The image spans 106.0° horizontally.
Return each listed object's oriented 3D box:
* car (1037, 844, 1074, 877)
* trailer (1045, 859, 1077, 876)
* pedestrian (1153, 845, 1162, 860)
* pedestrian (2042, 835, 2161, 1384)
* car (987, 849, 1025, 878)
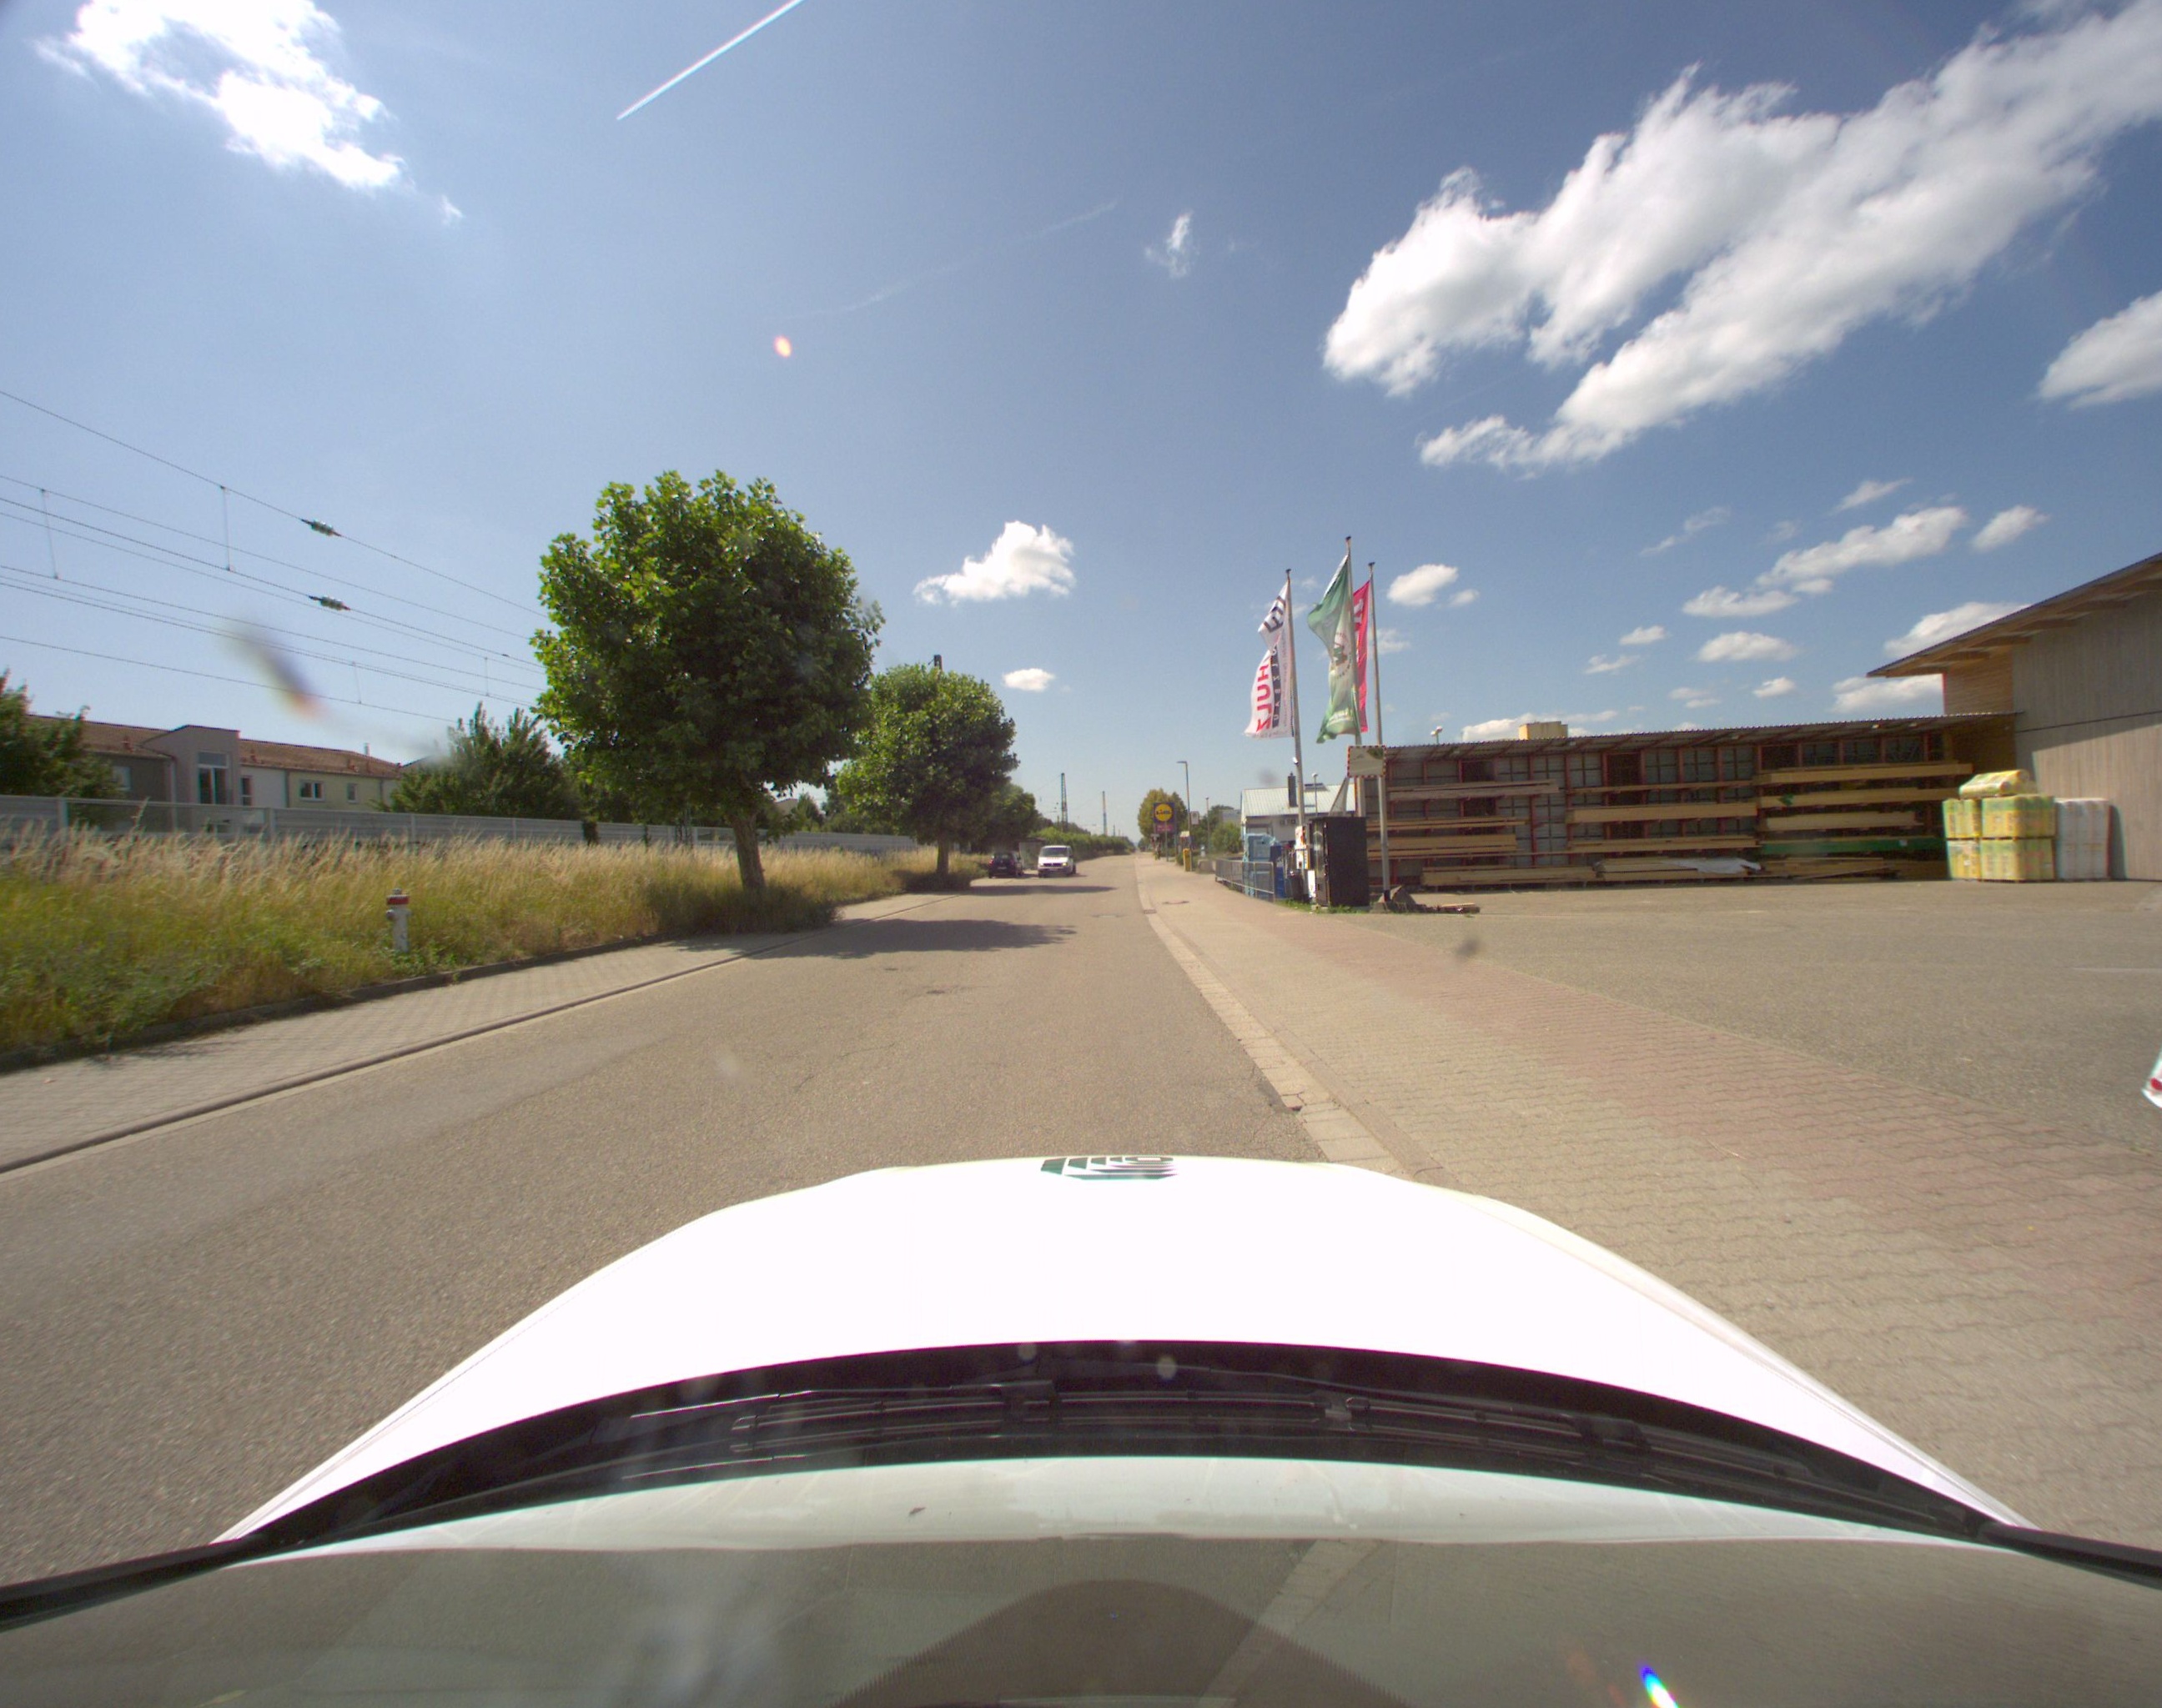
[{"bbox_3d":[-1.449,0.359,48.584,1.831,1.858,4.486,-2,0,2],"label":"car"},{"bbox_3d":[-1.263,0.849,52.963,1.812,0.850,4.224,-3,1,2],"label":"trailer"},{"bbox_3d":[8.457,-0.137,89.942,0.759,1.601,1.210,-2,0,1],"label":"pedestrian"},{"bbox_3d":[3.018,0.640,1.975,0.563,1.405,0.584,-3,-2,0],"label":"pedestrian"},{"bbox_3d":[-4.377,0.507,47.899,1.735,1.596,3.580,-2,0,1],"label":"car"}]
